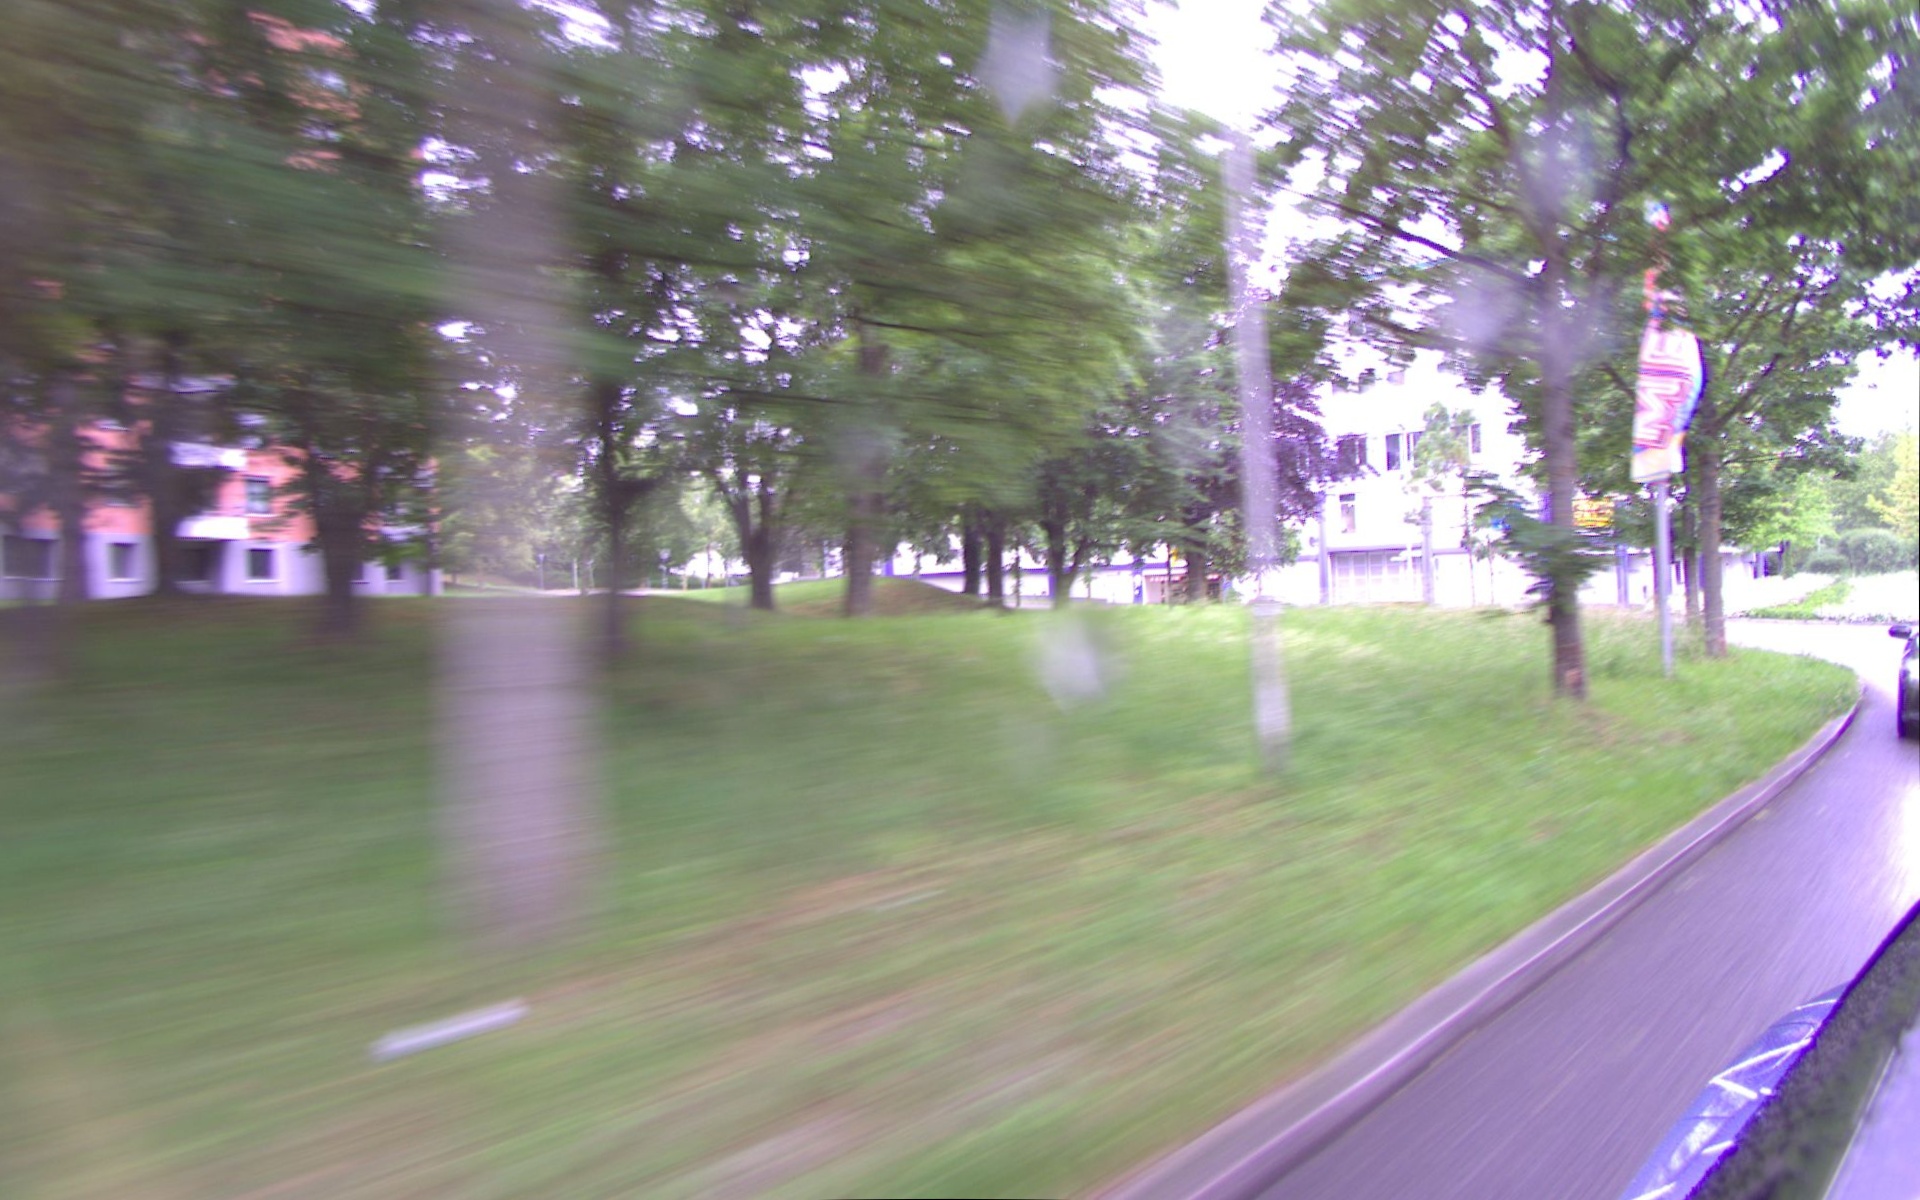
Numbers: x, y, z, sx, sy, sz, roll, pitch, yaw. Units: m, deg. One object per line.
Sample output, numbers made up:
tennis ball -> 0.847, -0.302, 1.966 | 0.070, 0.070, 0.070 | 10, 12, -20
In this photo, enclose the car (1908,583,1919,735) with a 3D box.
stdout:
car -> 11.557, 0.535, 10.719 | 3.932, 1.499, 1.843 | -1, -1, -42
